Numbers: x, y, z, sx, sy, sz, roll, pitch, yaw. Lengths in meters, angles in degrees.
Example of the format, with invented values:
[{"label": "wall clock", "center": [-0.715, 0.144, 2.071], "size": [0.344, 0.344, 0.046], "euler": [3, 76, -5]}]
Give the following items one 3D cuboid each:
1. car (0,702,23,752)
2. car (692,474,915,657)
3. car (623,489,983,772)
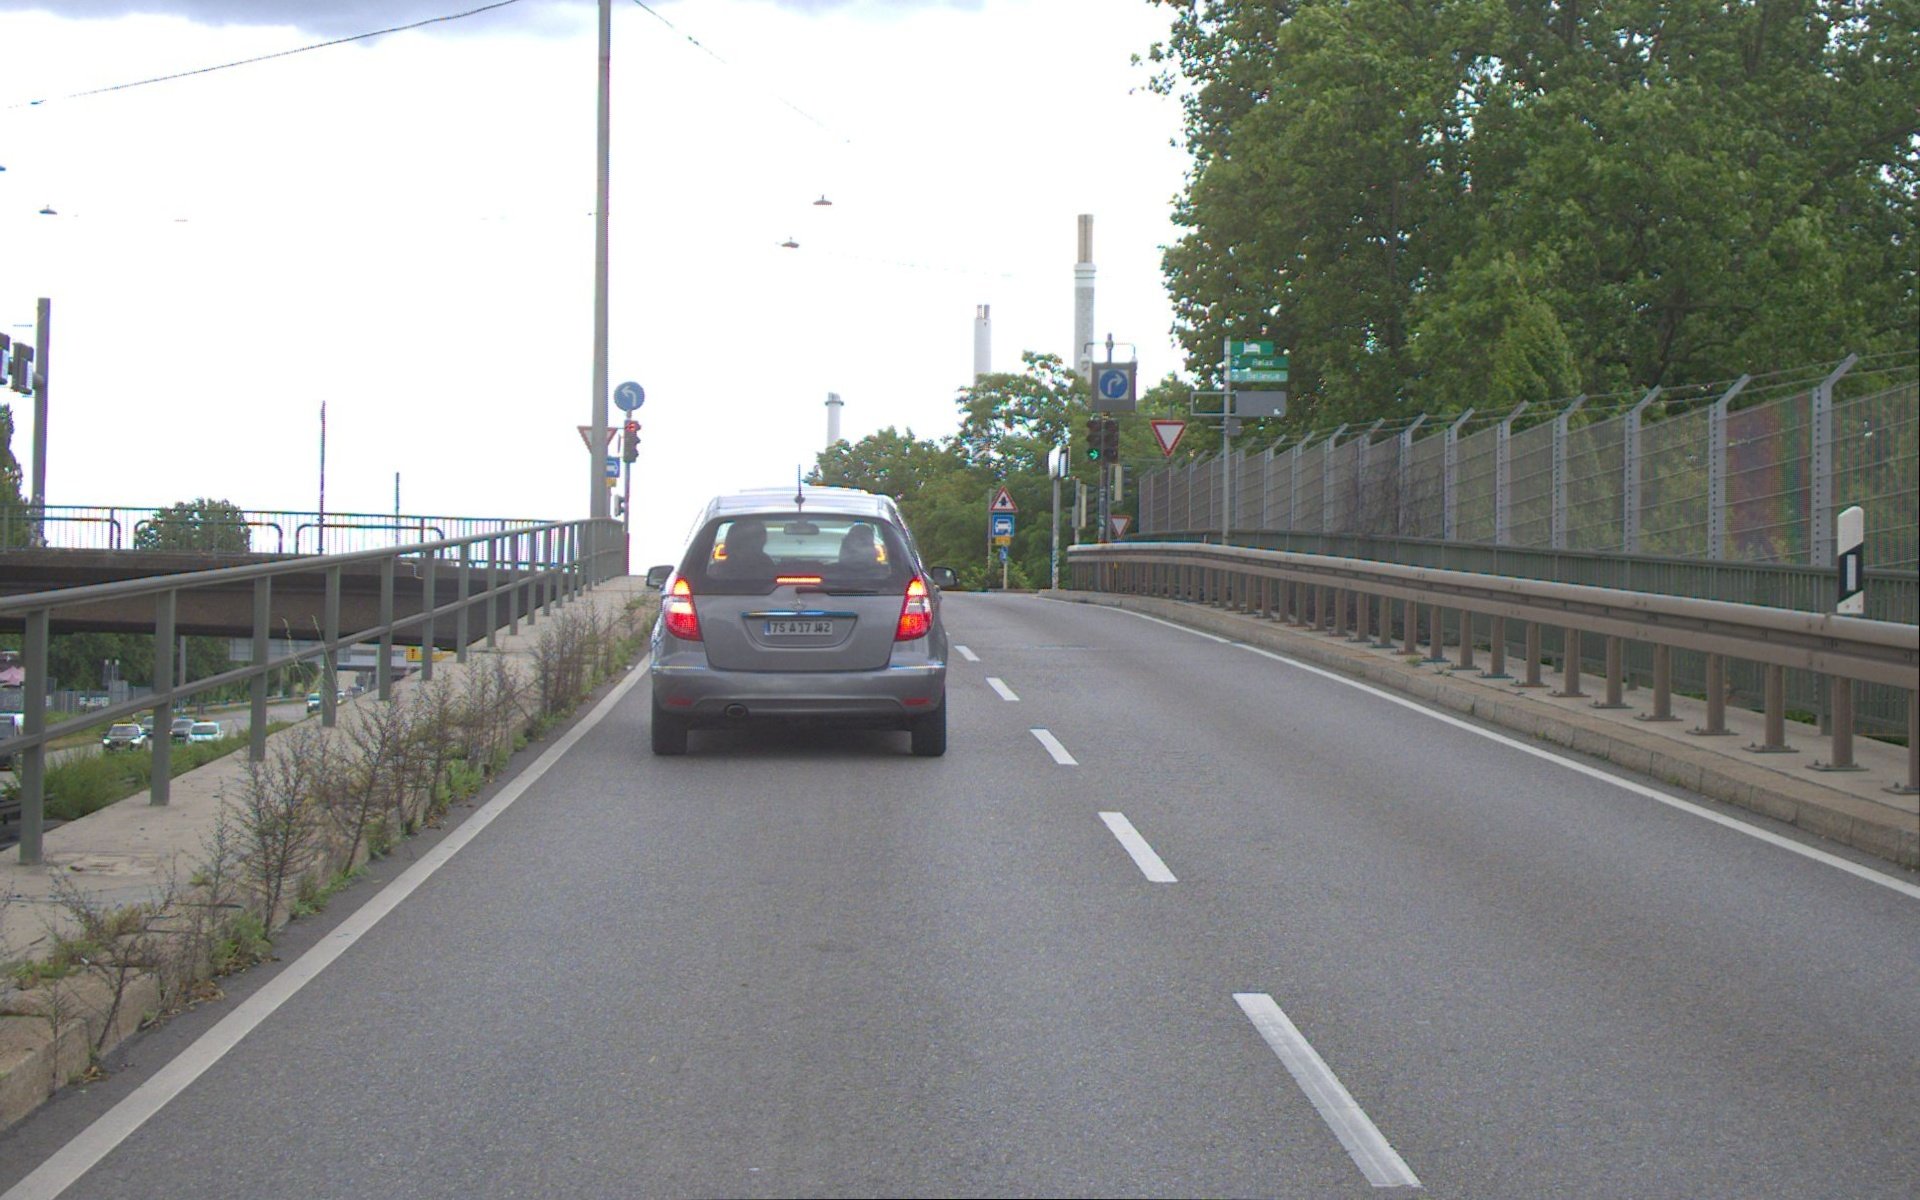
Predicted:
[{"label": "car", "center": [-42.377, 5.528, 149.768], "size": [2.290, 2.148, 6.184], "euler": [0, -2, -8]}, {"label": "car", "center": [-1.469, -0.382, 32.815], "size": [1.993, 1.597, 4.001], "euler": [0, 3, -2]}, {"label": "car", "center": [-0.887, 0.106, 21.658], "size": [1.750, 1.575, 4.084], "euler": [1, 2, 5]}]
